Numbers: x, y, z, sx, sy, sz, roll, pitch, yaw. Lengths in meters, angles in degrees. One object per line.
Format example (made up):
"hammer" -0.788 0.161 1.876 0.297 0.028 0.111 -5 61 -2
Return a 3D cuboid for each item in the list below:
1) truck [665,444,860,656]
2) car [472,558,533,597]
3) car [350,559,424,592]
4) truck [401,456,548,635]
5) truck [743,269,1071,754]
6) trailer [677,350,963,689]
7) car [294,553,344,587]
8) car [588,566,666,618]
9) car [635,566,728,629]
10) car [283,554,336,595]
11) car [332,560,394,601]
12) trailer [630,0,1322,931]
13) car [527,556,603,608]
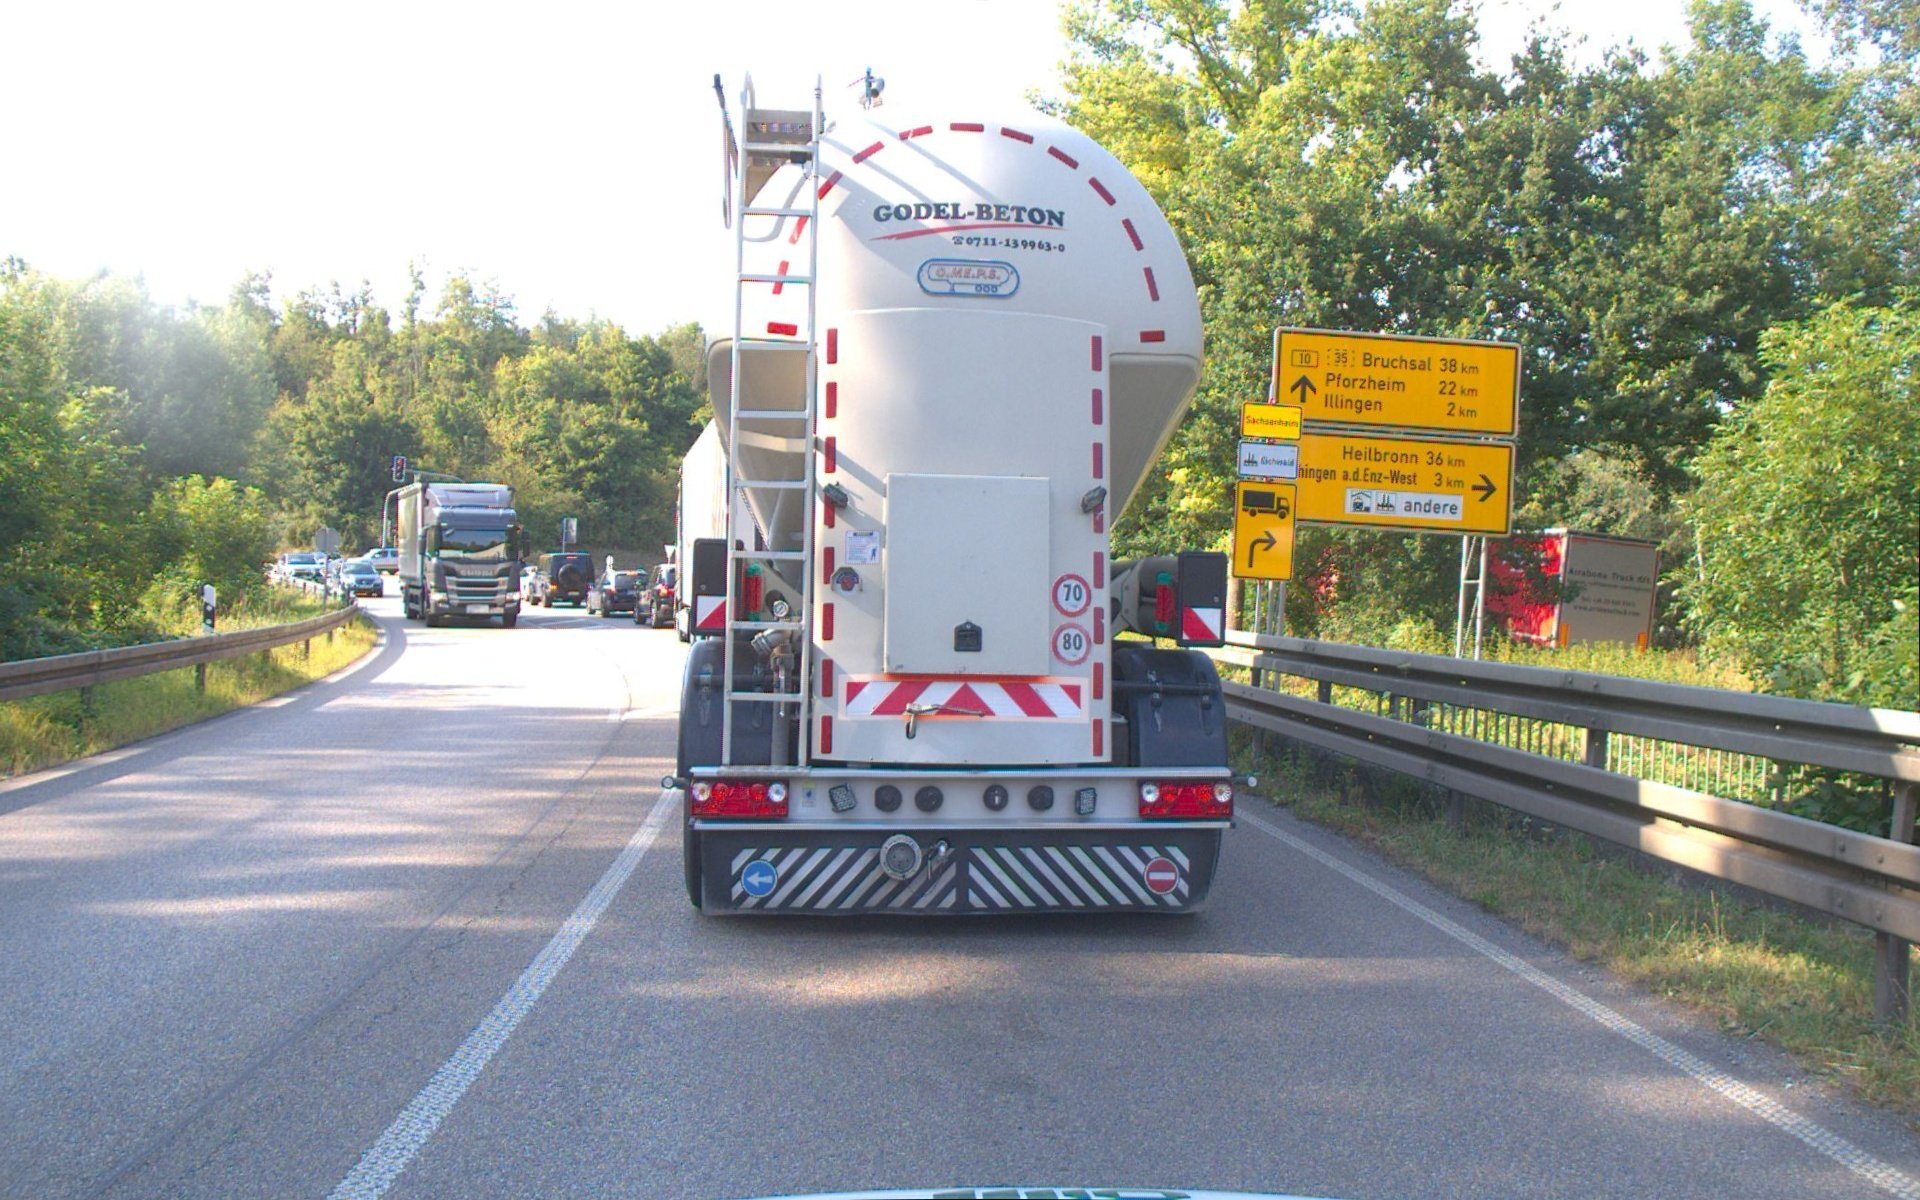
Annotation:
"truck" -4.528 -1.011 36.560 3.392 4.158 6.467 2 0 -14
"car" -20.820 -1.023 75.130 1.846 1.622 3.965 3 0 -27
"car" -36.514 -1.541 105.426 3.970 1.884 1.843 3 0 -45
"truck" -14.502 -1.469 48.743 2.971 4.665 10.169 1 0 -23
"truck" -0.804 -0.754 17.161 2.771 4.105 5.884 1 0 -7
"trailer" -3.002 -1.134 29.455 3.483 4.592 12.947 2 0 -11
"car" -37.700 -1.743 97.376 1.833 1.883 3.993 3 0 -8
"car" -10.824 -0.286 53.632 1.841 1.592 3.974 0 1 -21
"car" -7.766 -0.120 45.843 1.840 1.656 3.976 0 1 -20
"car" -31.807 -1.267 80.833 1.847 1.883 3.962 3 0 -29
"car" -25.554 -0.853 70.752 1.847 1.584 3.962 3 0 -29
"trailer" -0.298 -0.910 11.678 2.830 4.532 9.596 1 0 -5
"car" -14.902 -0.720 62.284 1.933 1.883 3.966 -1 2 -26
